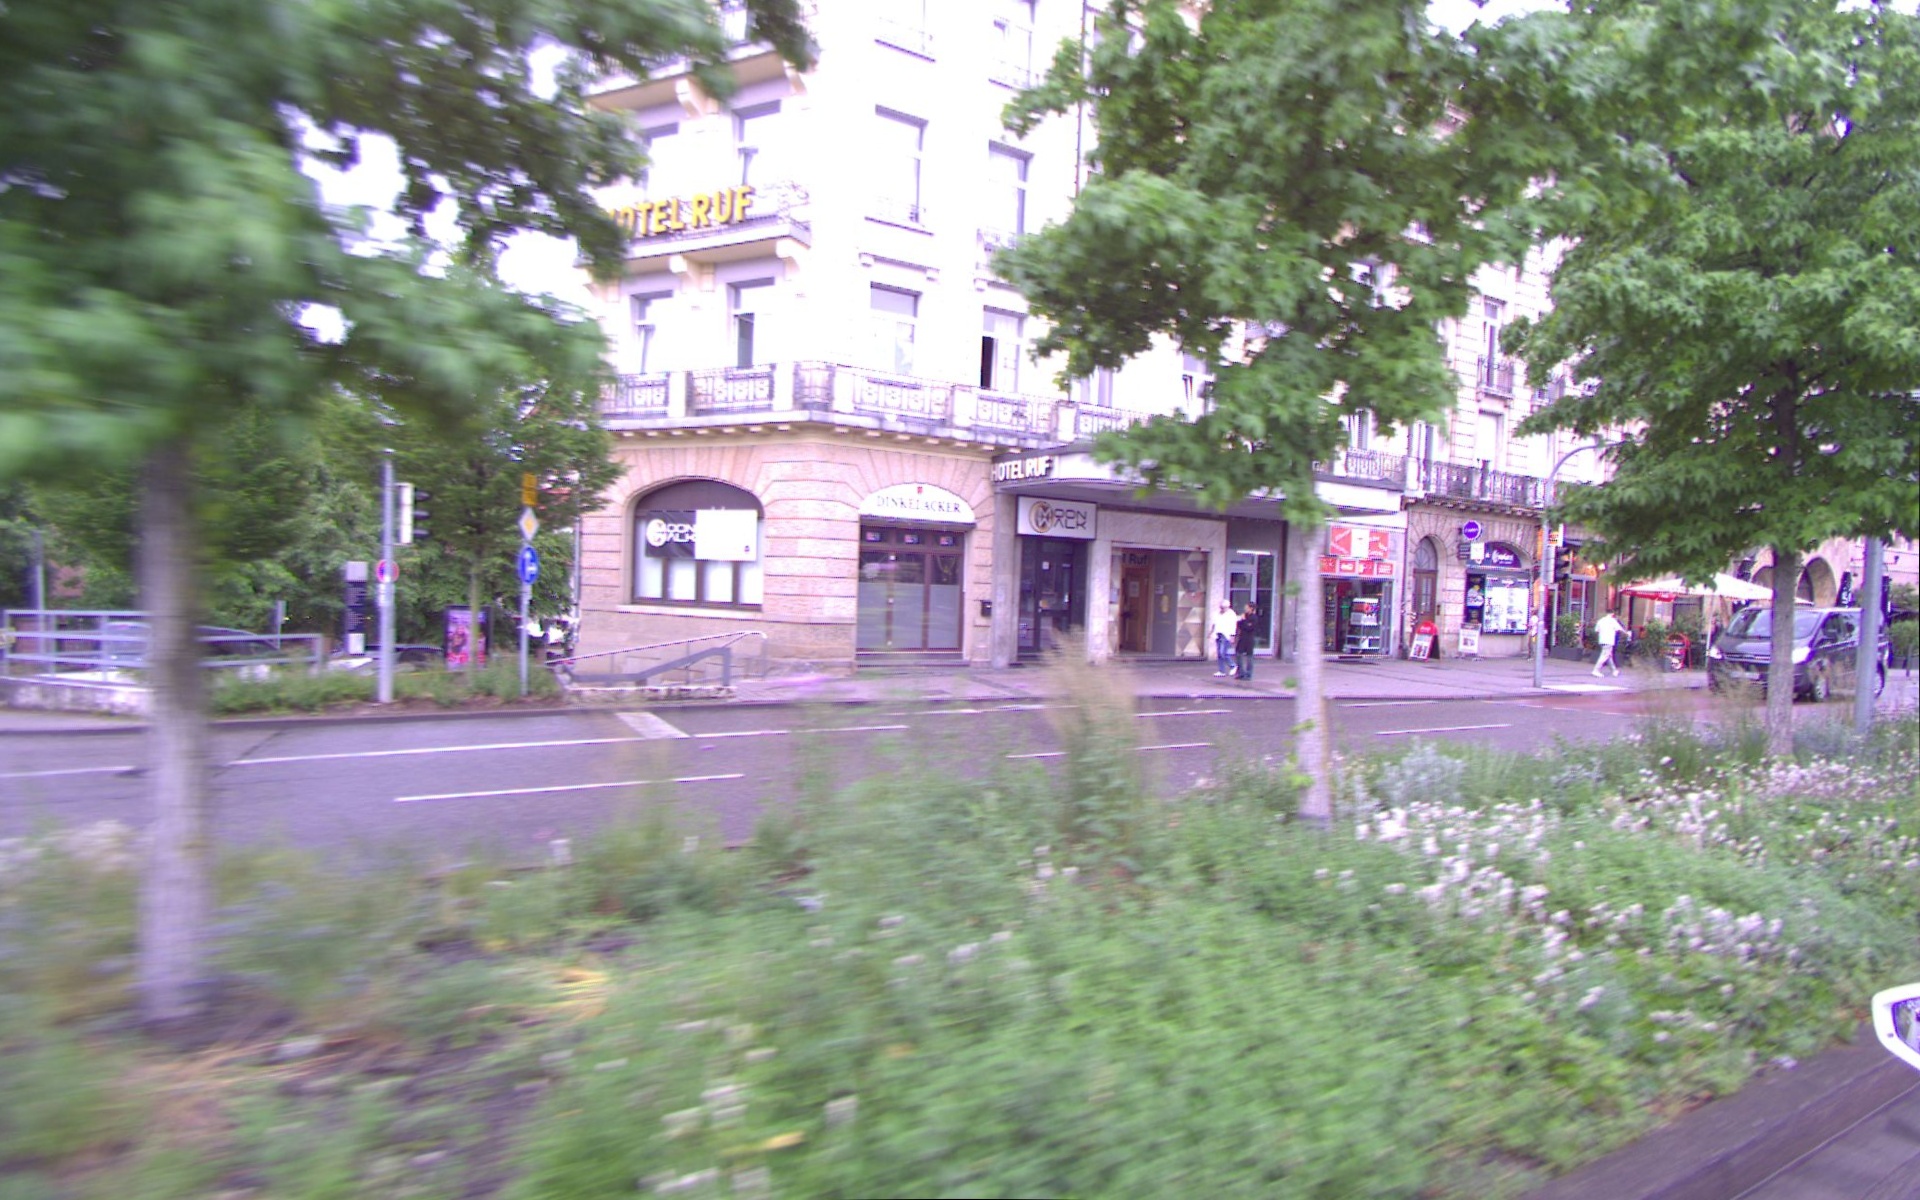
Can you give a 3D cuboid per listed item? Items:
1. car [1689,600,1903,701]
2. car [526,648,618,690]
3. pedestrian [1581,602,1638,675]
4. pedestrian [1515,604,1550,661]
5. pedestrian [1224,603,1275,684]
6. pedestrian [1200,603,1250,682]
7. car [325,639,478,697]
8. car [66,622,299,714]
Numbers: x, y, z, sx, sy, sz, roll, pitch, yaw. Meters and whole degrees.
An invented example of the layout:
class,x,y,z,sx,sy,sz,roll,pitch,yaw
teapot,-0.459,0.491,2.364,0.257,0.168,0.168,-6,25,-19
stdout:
class,x,y,z,sx,sy,sz,roll,pitch,yaw
car,18.598,1.102,22.299,4.939,2.040,1.985,2,-2,-29
car,-15.381,2.722,40.034,1.734,1.498,4.013,0,-2,6
pedestrian,17.180,1.038,26.595,0.741,1.835,0.876,1,-7,-30
pedestrian,17.495,0.994,30.695,0.532,1.686,0.661,2,3,-38
pedestrian,6.148,0.920,21.342,0.797,1.685,0.678,1,-2,-30
pedestrian,5.766,0.926,21.879,0.796,1.685,0.679,1,-2,-27
car,-15.688,1.859,28.466,1.602,1.416,4.003,0,-1,10
car,-16.911,1.401,22.120,1.602,1.782,4.003,0,-1,10
